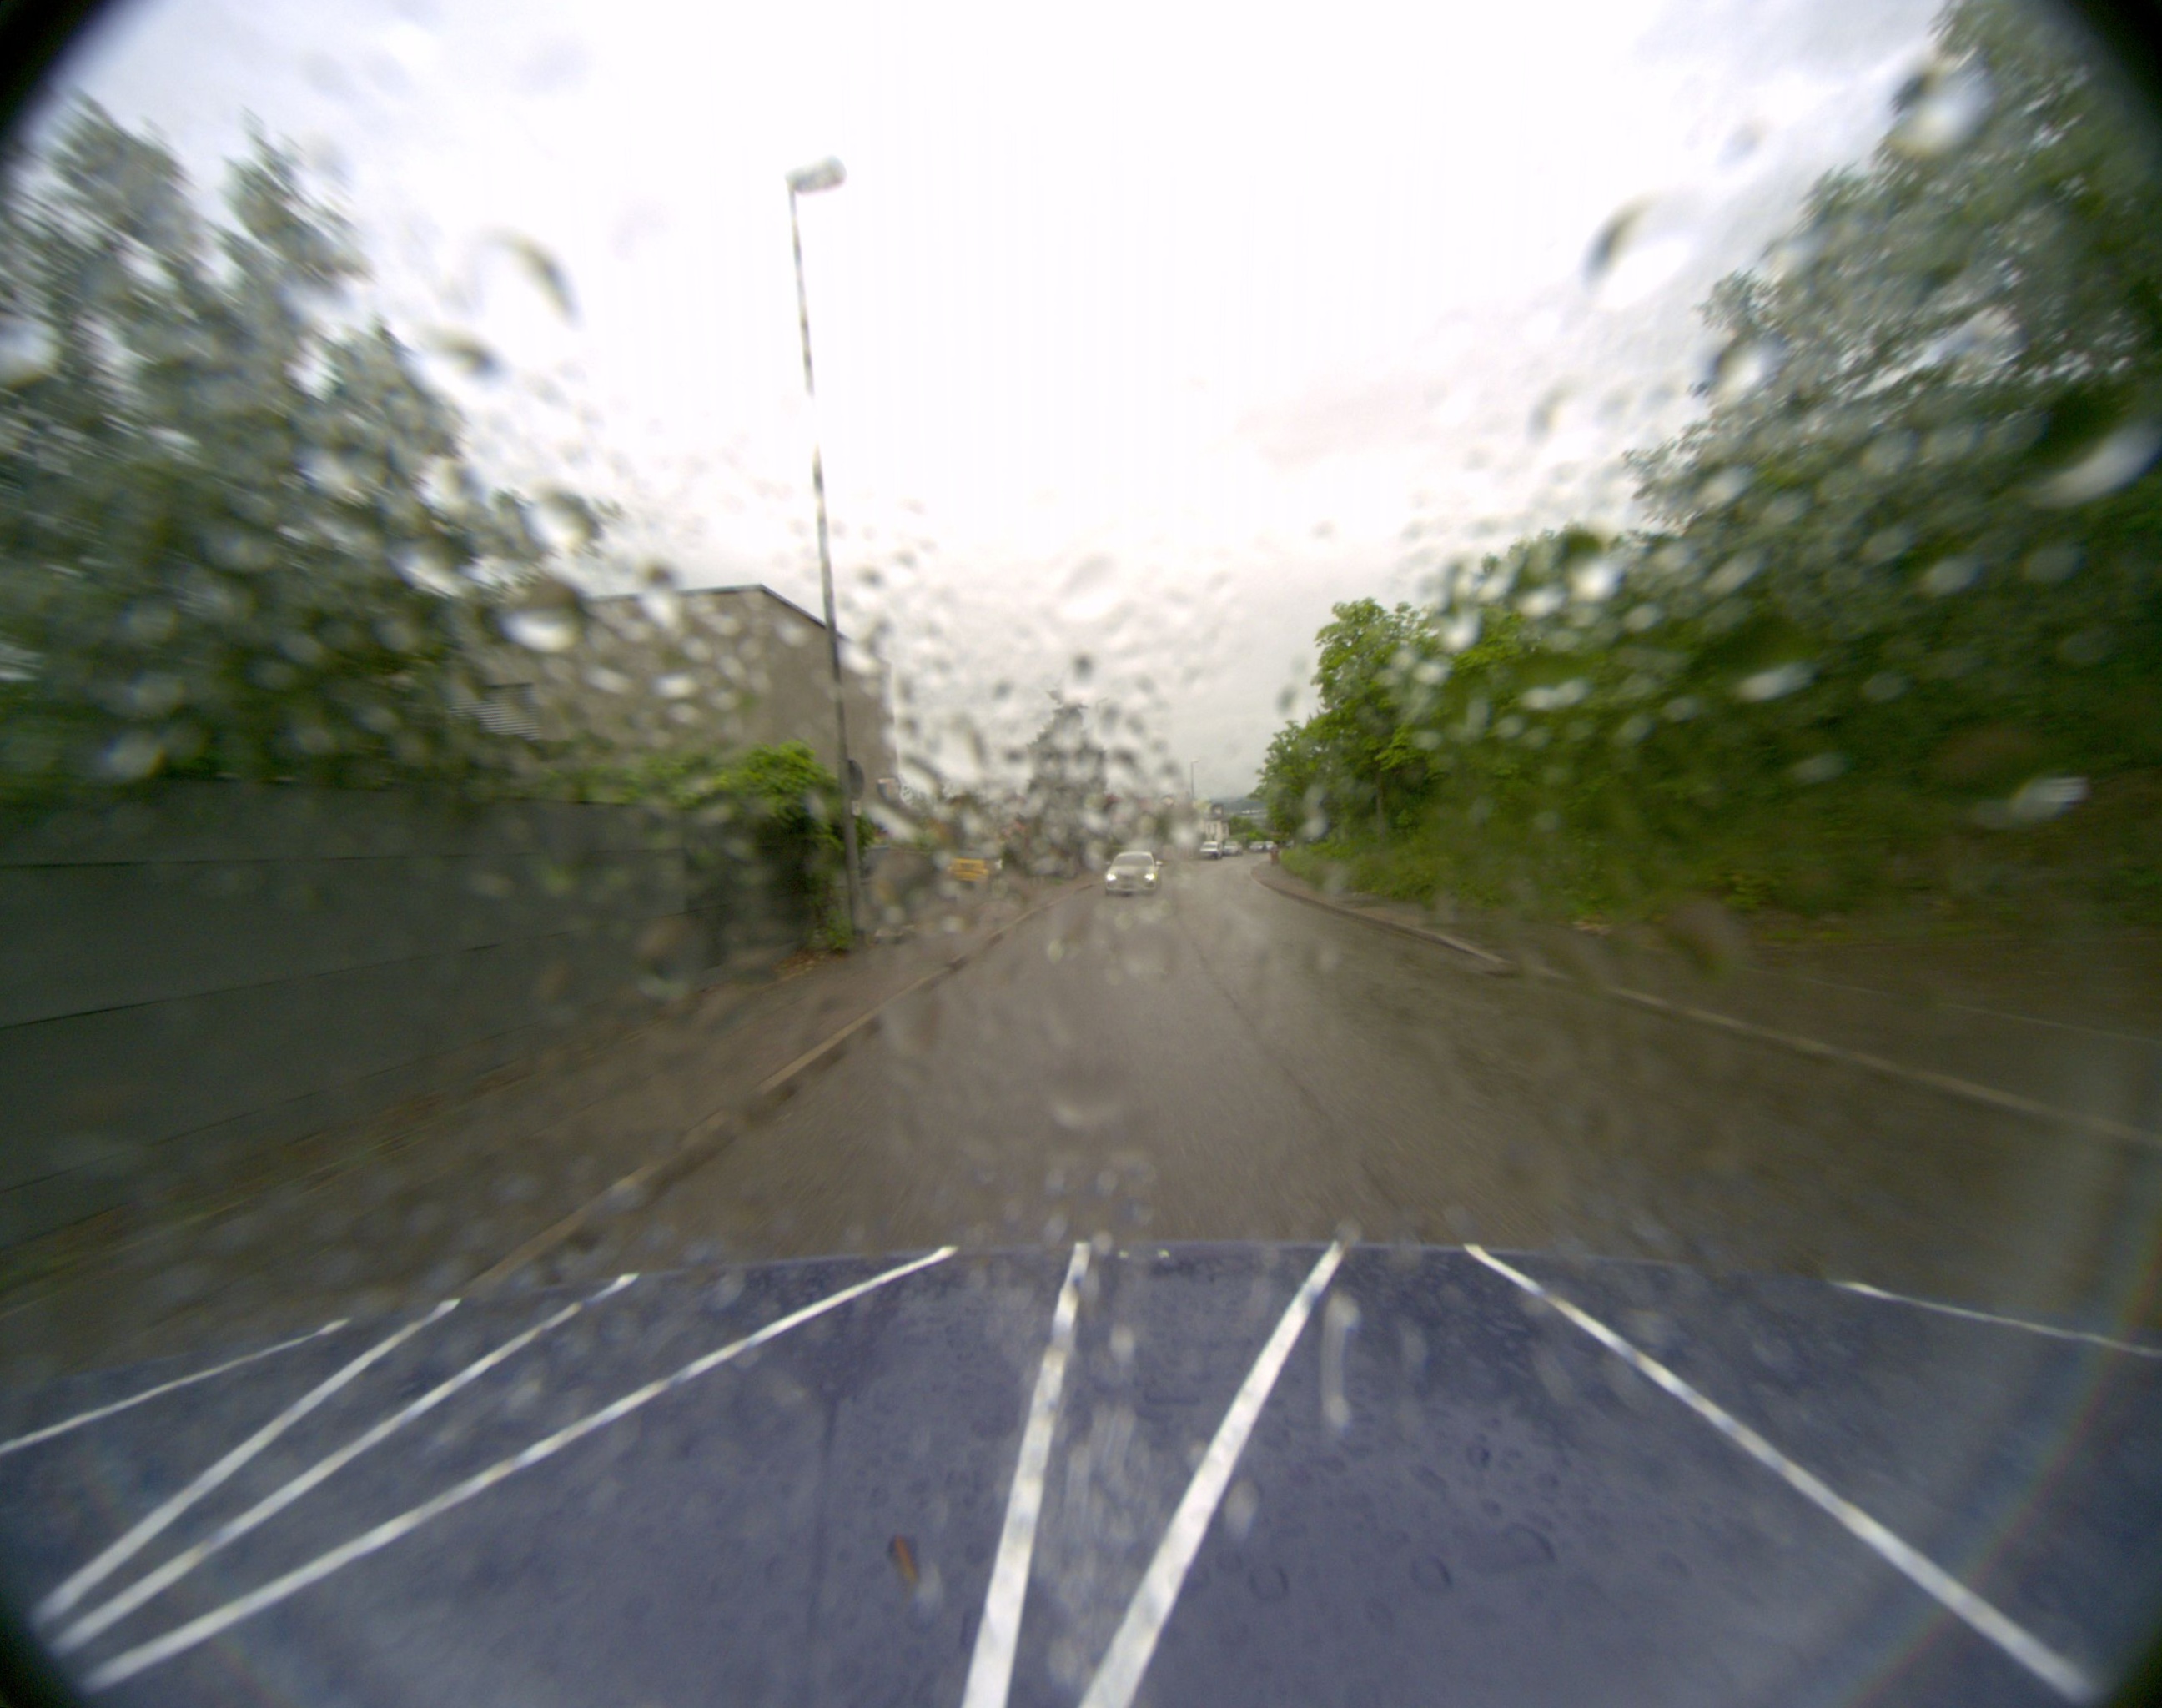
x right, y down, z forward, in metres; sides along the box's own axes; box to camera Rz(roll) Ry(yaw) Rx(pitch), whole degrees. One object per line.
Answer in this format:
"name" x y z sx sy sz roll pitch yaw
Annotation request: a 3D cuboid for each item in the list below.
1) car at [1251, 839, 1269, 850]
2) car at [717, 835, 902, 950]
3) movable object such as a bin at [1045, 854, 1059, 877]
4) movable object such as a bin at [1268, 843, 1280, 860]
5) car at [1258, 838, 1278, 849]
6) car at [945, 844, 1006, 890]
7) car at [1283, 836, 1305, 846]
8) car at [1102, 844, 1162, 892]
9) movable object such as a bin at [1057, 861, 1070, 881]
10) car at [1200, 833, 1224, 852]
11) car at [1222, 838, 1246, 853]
"car" 24.409 -1.313 103.474 1.660 1.459 3.769 2 3 26
"car" -5.649 0.674 16.623 1.998 1.930 4.771 -1 4 3
"movable object such as a bin" -1.462 0.587 38.695 0.505 1.111 0.595 -5 1 8
"movable object such as a bin" 13.394 -0.167 52.718 0.695 1.083 0.804 -3 -3 19
"car" 26.703 -1.558 108.582 1.769 1.459 4.241 2 3 27
"car" -3.959 0.462 29.004 1.631 1.485 3.426 4 2 2
"car" 33.967 -2.100 121.137 1.858 1.518 5.073 3 3 32
"car" 1.859 0.422 26.629 1.797 1.455 4.001 0 2 8
"movable object such as a bin" -0.879 0.871 38.609 0.505 0.964 0.595 -5 1 8
"car" 13.388 -1.217 77.610 1.781 1.793 4.712 0 2 18
"car" 18.208 -0.998 90.170 1.805 1.618 4.294 2 3 25
